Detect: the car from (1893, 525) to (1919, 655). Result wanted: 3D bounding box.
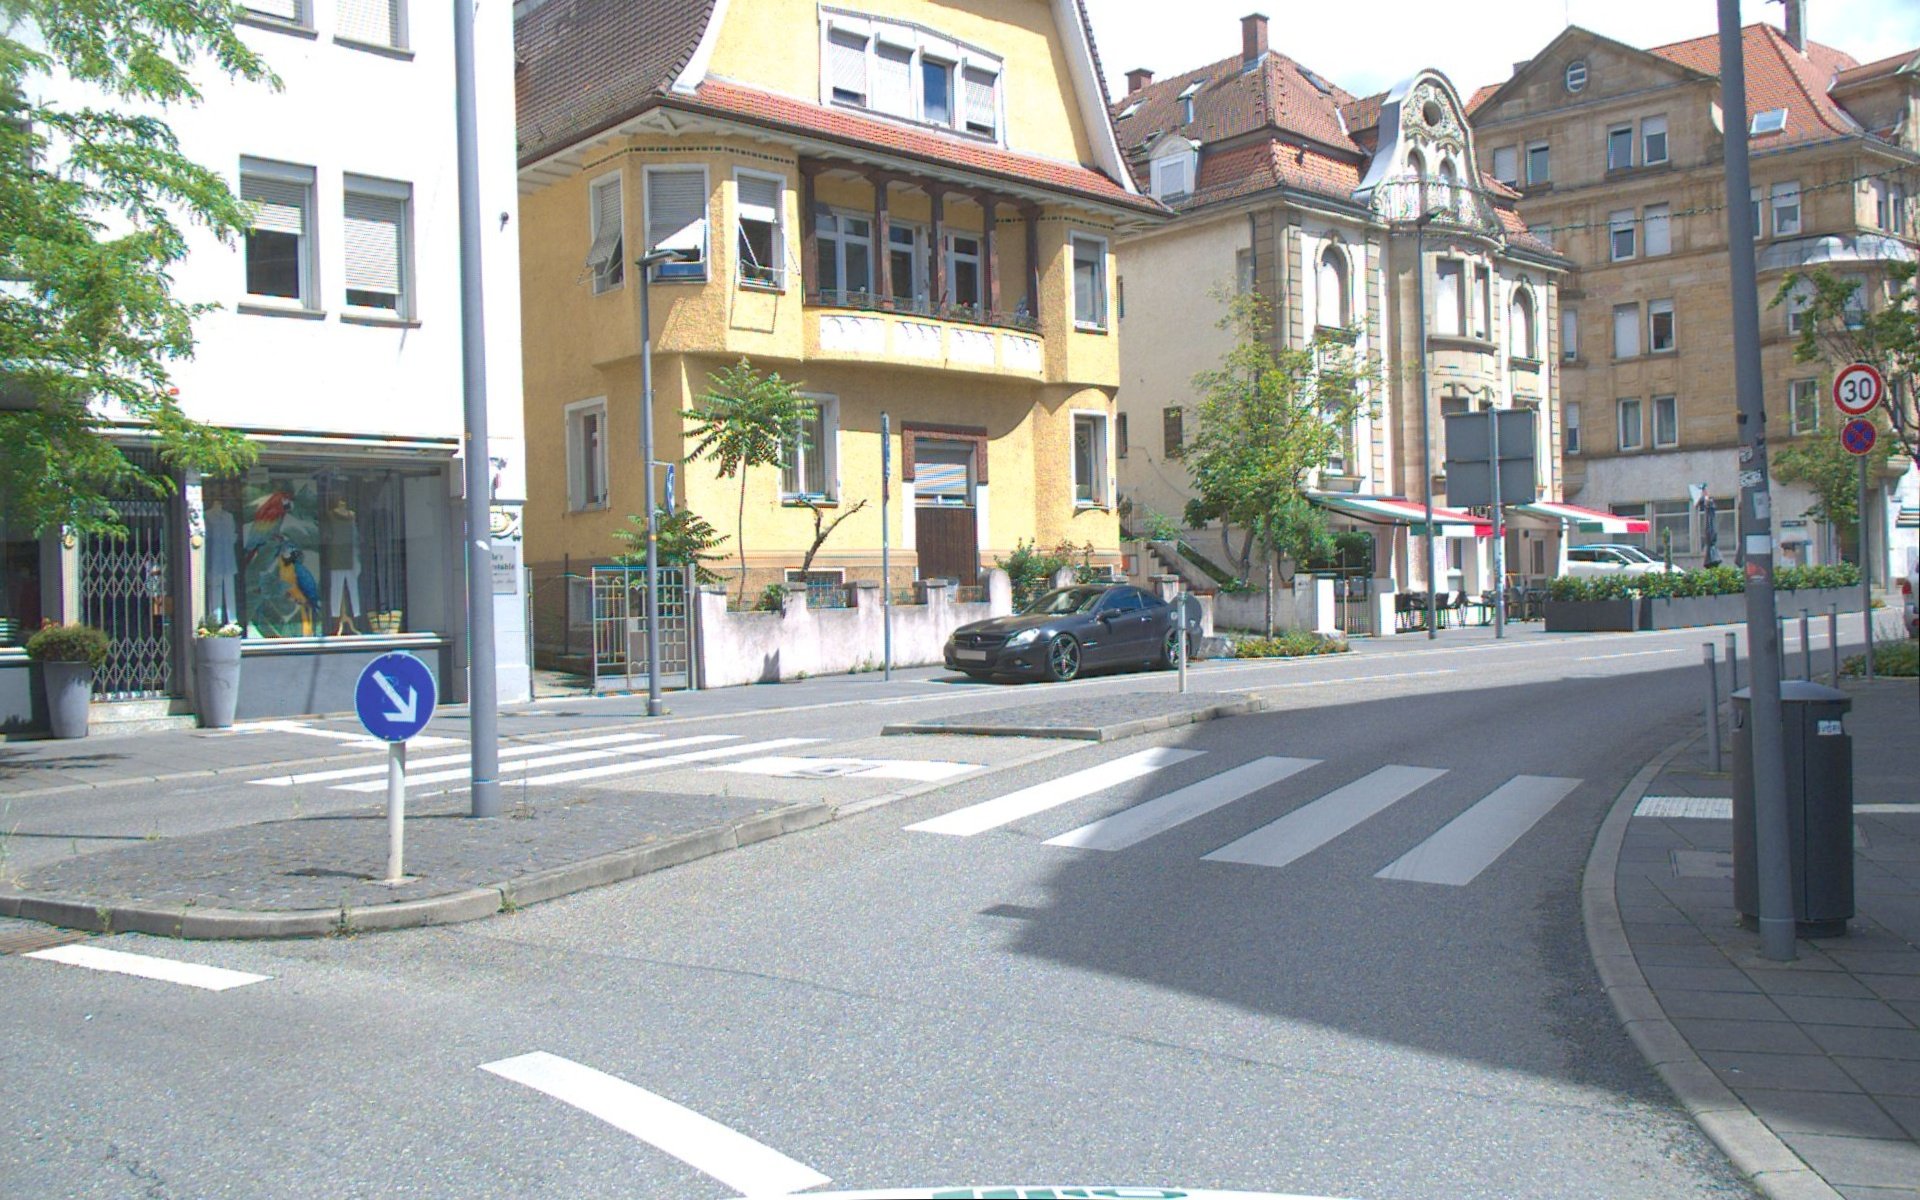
[{"bbox_3d":[15.037,-0.215,23.344,4.191,1.761,1.805,-2,-1,-39],"label":"car"}]

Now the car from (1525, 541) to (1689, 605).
[{"bbox_3d":[19.694,-0.811,50.367,4.340,1.806,1.995,-1,1,33],"label":"car"}]

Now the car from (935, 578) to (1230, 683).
[{"bbox_3d":[1.849,0.392,24.033,4.372,1.267,1.690,-3,1,-41],"label":"car"}]

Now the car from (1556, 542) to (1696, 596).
[{"bbox_3d":[22.402,-1.036,55.706,3.931,1.691,1.897,-1,1,44],"label":"car"}]
